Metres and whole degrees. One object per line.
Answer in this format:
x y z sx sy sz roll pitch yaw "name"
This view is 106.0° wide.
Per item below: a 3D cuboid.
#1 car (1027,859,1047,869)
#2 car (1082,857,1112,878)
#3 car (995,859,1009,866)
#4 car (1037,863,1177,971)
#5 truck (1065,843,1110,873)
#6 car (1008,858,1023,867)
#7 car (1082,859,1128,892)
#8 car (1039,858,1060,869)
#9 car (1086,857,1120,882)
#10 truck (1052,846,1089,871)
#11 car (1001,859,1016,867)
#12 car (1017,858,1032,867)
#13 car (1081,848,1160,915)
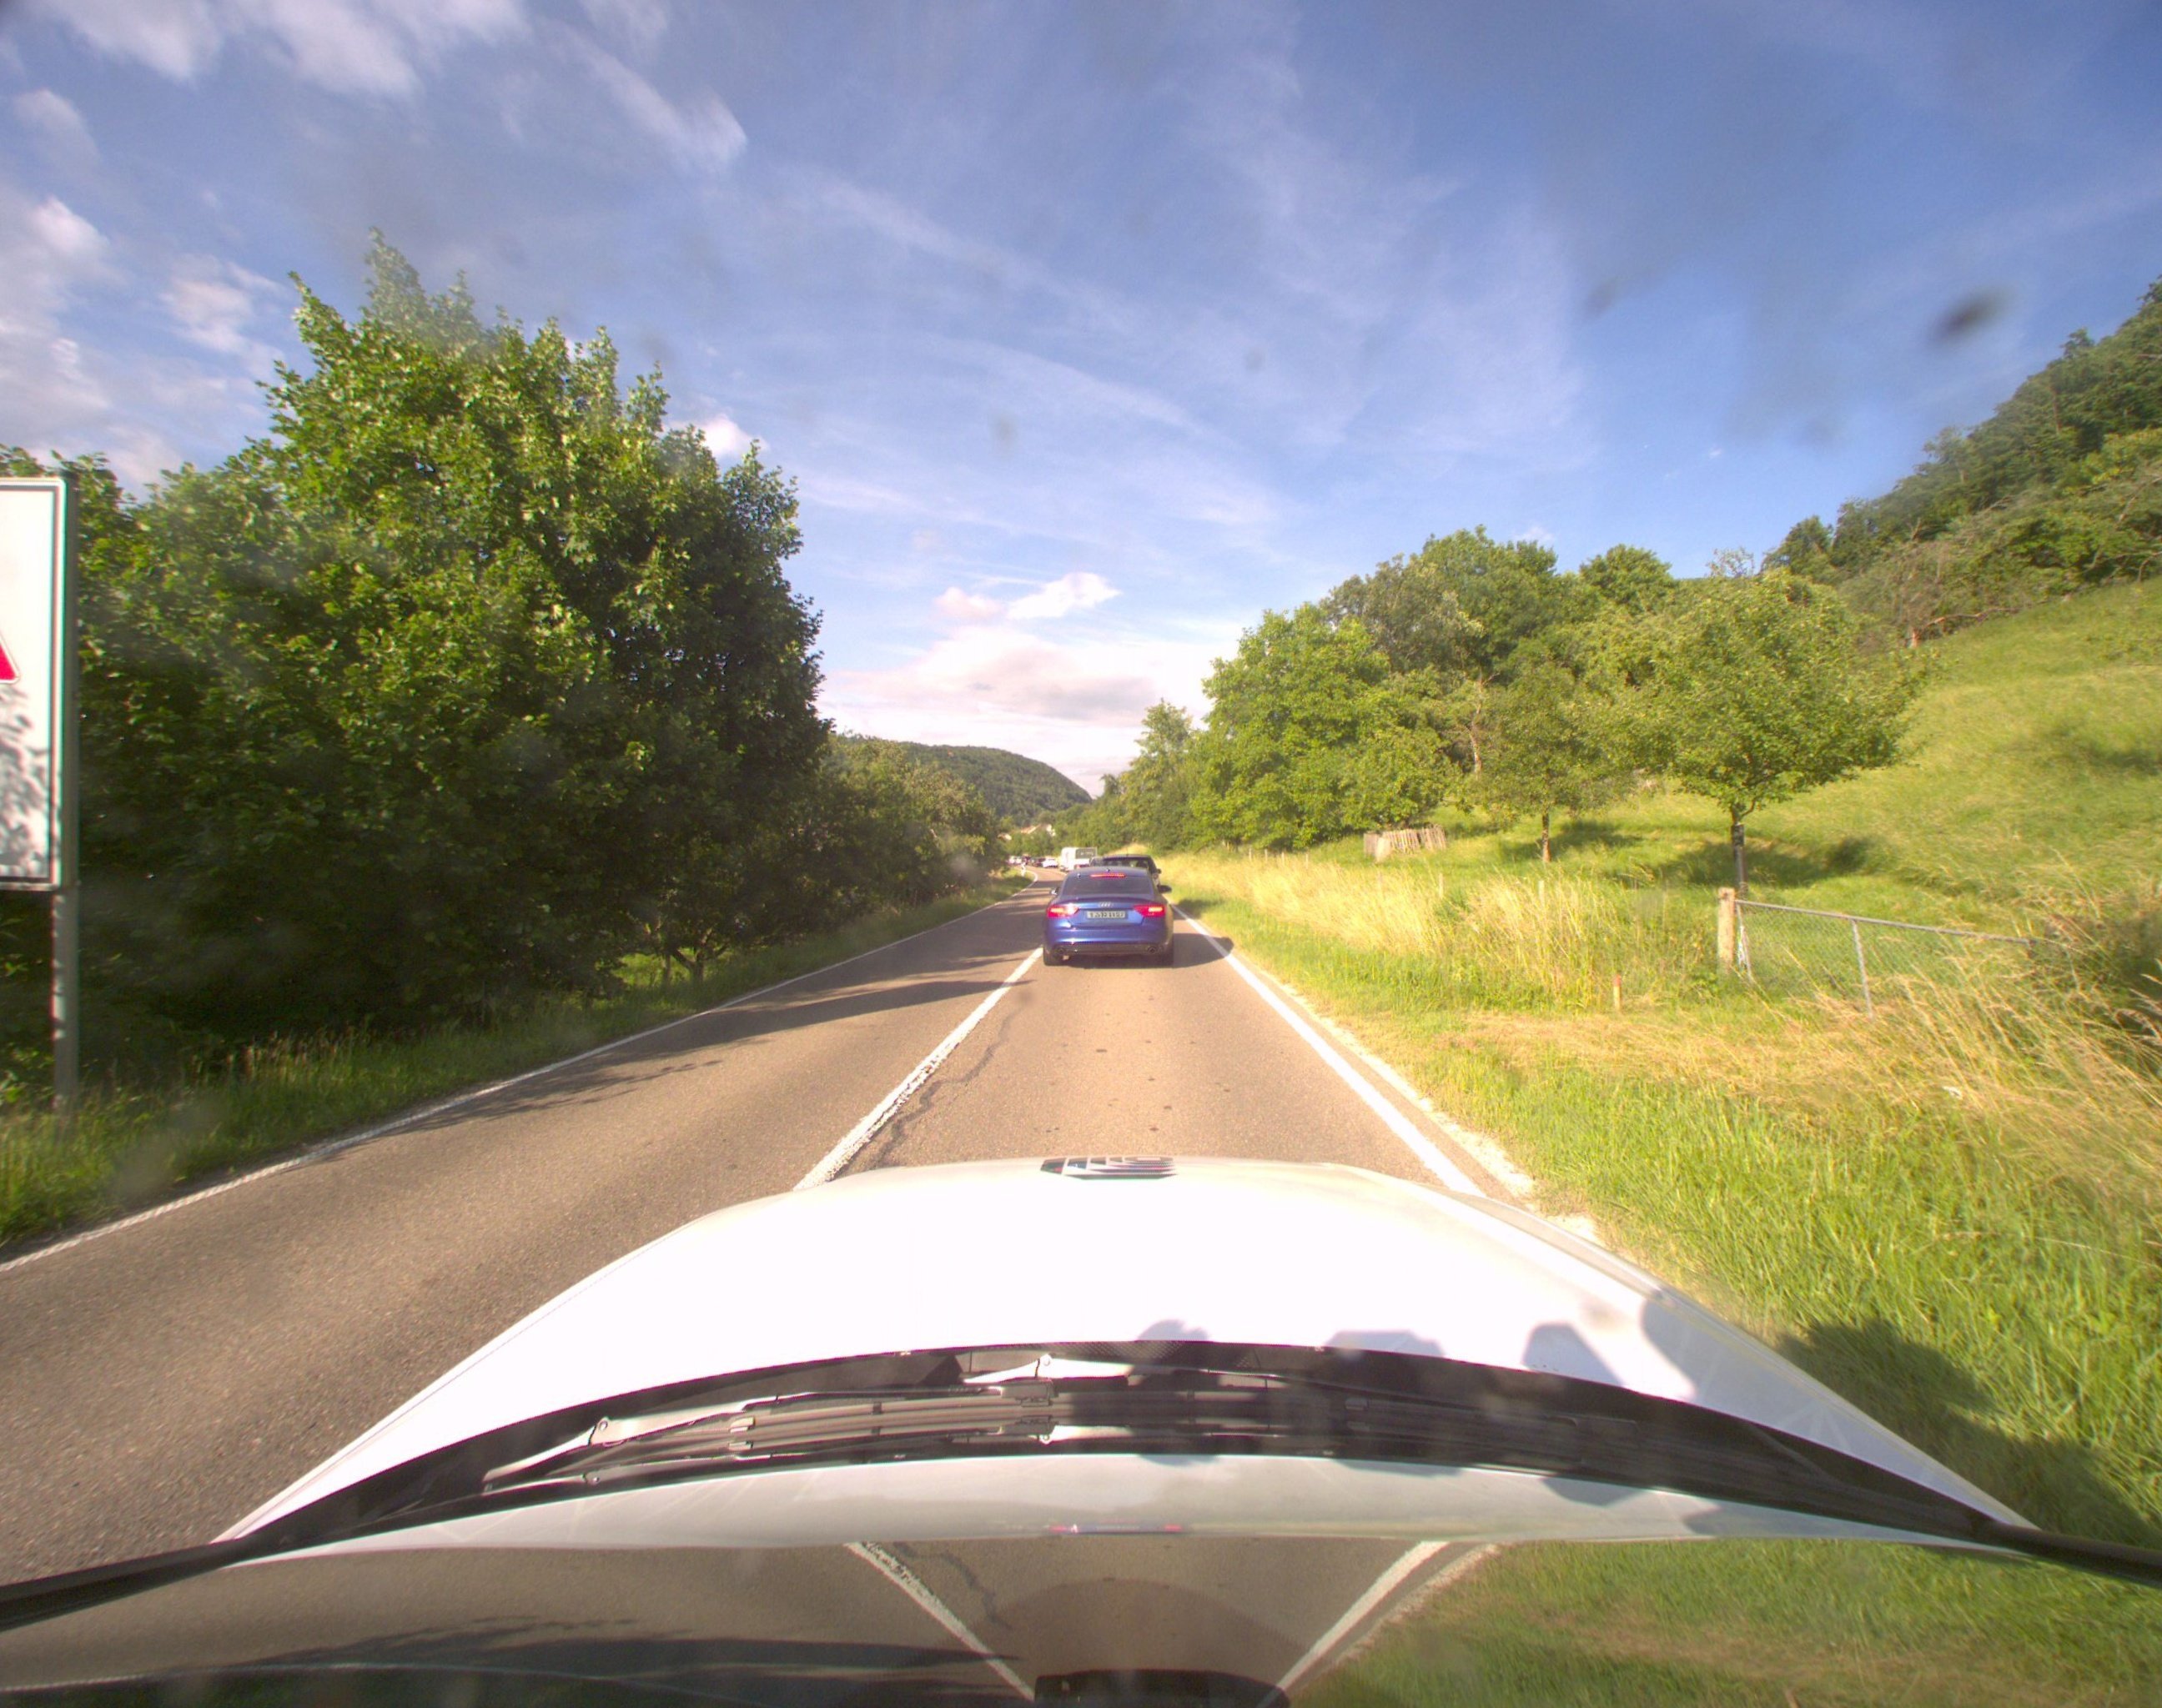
-6.531 1.447 120.357 1.998 1.482 3.976 0 -1 -17 "car"
1.177 1.011 61.795 1.990 1.482 3.994 0 -1 -4 "car"
-16.393 1.786 168.830 2.000 1.482 3.974 0 -1 -19 "car"
0.472 0.841 12.482 1.786 1.360 4.004 -1 0 4 "car"
0.477 0.410 77.272 2.862 2.665 10.364 0 0 -8 "truck"
-12.097 1.593 150.171 2.000 1.482 3.974 0 -1 -19 "car"
1.161 0.964 37.203 1.985 1.387 4.003 0 -1 3 "car"
-4.385 1.350 112.835 1.998 1.482 3.976 0 -1 -17 "car"
1.413 0.949 50.310 1.985 1.482 4.003 0 -1 3 "car"
-1.272 0.507 91.677 2.862 2.665 10.616 0 0 -8 "truck"
-14.008 1.678 156.897 2.000 1.482 3.974 0 -1 -19 "car"
-9.865 1.429 141.567 1.996 1.482 3.982 0 -1 -13 "car"
1.119 0.733 22.727 1.985 1.702 4.003 0 -1 3 "car"
